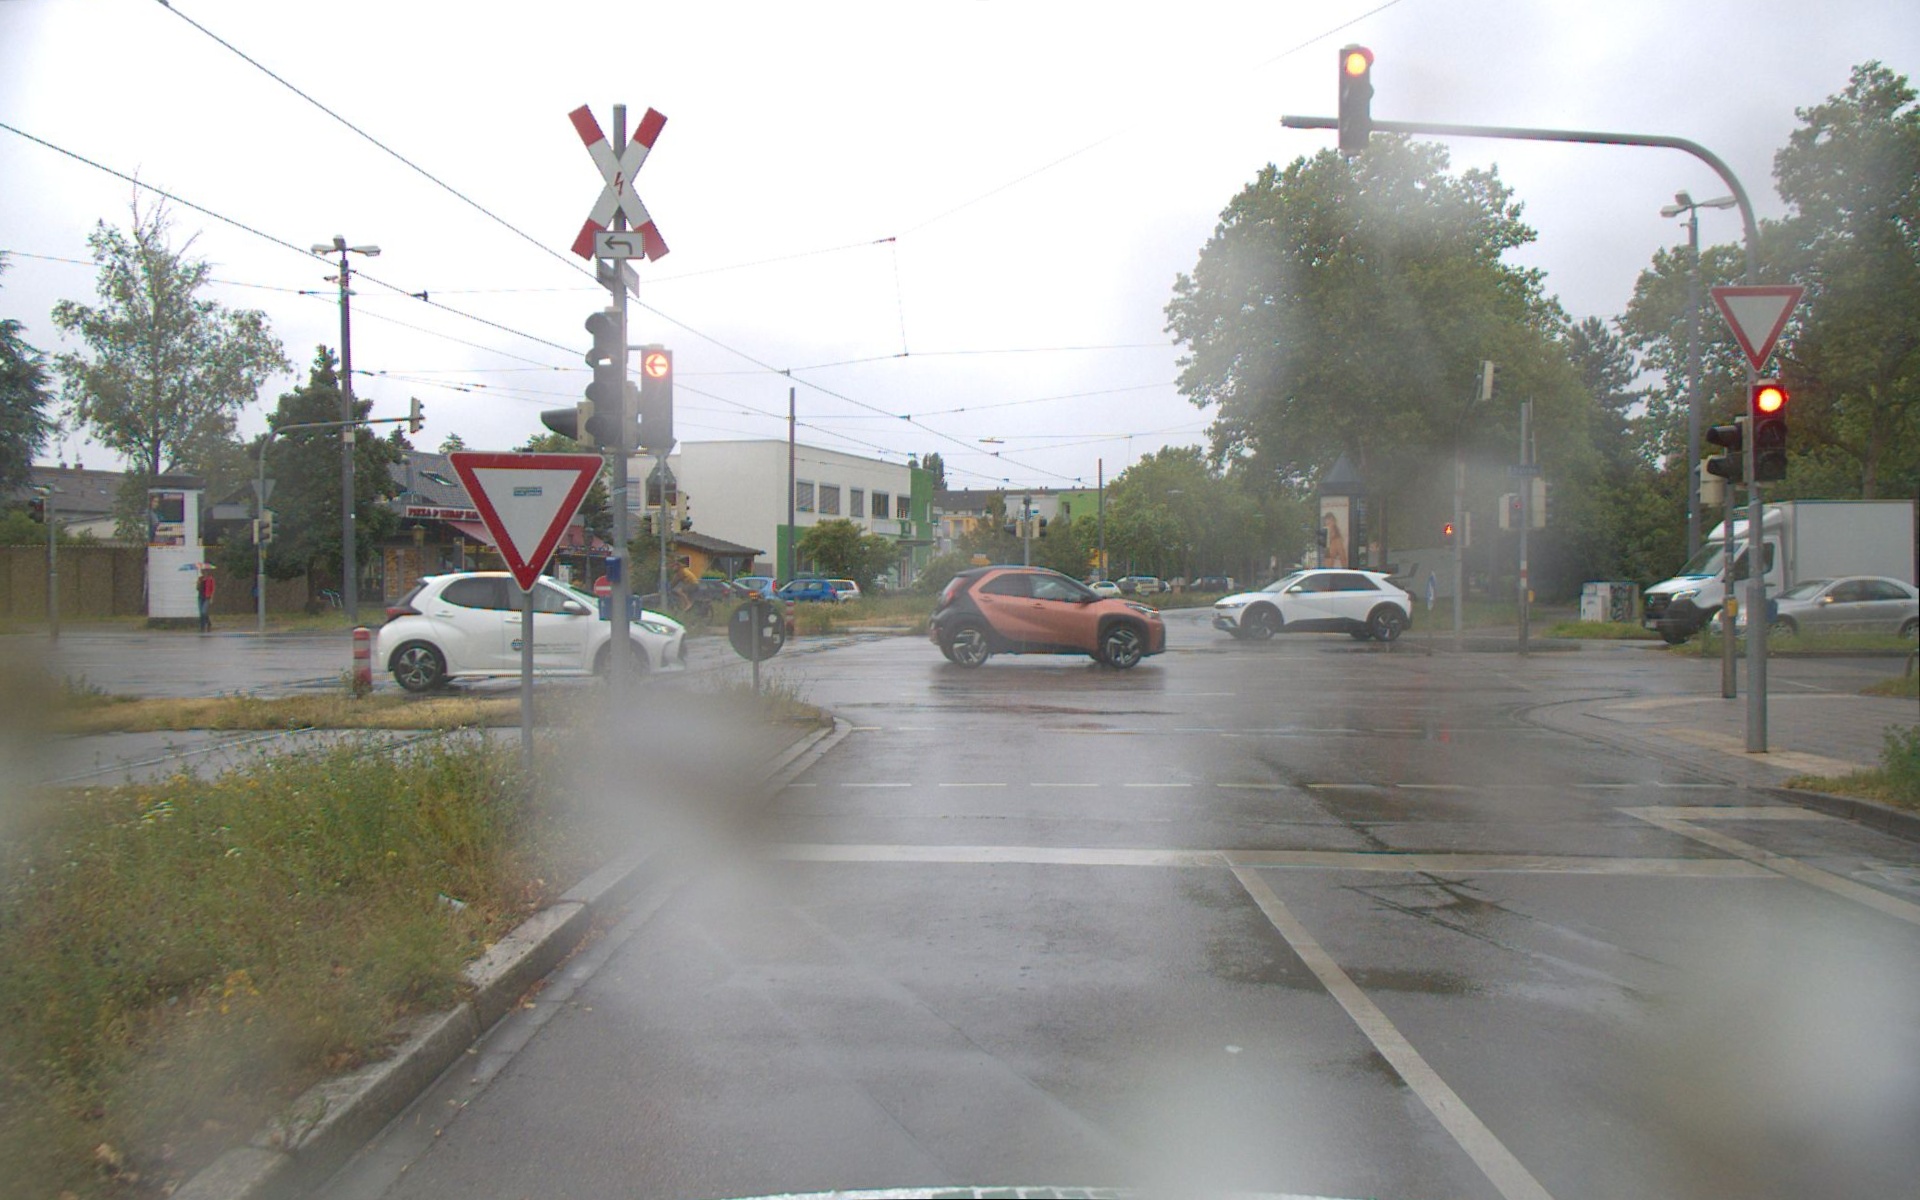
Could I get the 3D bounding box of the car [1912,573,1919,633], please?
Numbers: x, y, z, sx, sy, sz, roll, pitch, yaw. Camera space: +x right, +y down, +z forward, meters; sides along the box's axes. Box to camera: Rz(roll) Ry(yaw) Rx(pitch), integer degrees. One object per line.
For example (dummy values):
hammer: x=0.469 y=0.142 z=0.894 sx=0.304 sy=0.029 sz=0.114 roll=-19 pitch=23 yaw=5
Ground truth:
car: x=25.209 y=0.061 z=39.374 sx=4.116 sy=1.447 sz=1.765 roll=0 pitch=0 yaw=-2

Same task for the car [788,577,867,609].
car: x=-6.258 y=-0.329 z=77.986 sx=3.679 sy=1.467 sz=1.760 roll=-1 pitch=1 yaw=-7

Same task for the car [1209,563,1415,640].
car: x=8.103 y=0.015 z=38.252 sx=4.375 sy=1.685 sz=1.650 roll=-1 pitch=0 yaw=-7

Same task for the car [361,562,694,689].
car: x=-5.537 y=0.300 z=21.579 sx=3.988 sy=1.525 sz=1.649 roll=-1 pitch=0 yaw=-8

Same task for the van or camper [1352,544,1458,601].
van or camper: x=22.773 y=-1.409 z=84.612 sx=5.111 sy=2.744 sz=2.244 roll=2 pitch=1 yaw=18

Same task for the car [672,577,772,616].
car: x=-9.511 y=-0.144 z=66.251 sx=3.672 sy=1.467 sz=1.763 roll=-1 pitch=0 yaw=2

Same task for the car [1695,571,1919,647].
car: x=16.788 y=0.161 z=32.042 sx=4.422 sy=1.414 sz=1.643 roll=0 pitch=0 yaw=-3

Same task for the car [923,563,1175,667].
car: x=1.354 y=0.213 z=26.055 sx=3.744 sy=1.525 sz=1.650 roll=-1 pitch=0 yaw=-6

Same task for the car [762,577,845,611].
car: x=-7.075 y=-0.287 z=74.691 sx=3.679 sy=1.467 sz=1.760 roll=-1 pitch=1 yaw=-7

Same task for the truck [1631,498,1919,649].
truck: x=17.354 y=-0.564 z=35.249 sx=5.359 sy=3.112 sz=1.980 roll=0 pitch=0 yaw=-3

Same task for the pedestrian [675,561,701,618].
pedestrian: x=-7.315 y=-0.281 z=44.455 sx=0.563 sy=1.500 sz=0.500 roll=-1 pitch=0 yaw=3

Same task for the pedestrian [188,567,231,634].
pedestrian: x=-20.244 y=0.003 z=44.610 sx=0.894 sy=1.794 sz=0.797 roll=0 pitch=0 yaw=45

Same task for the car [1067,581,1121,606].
car: x=10.666 y=-0.547 z=131.521 sx=4.054 sy=1.892 sz=1.672 roll=-1 pitch=0 yaw=-5

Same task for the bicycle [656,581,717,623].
bicycle: x=-7.344 y=0.050 z=44.450 sx=1.529 sy=1.121 sz=0.500 roll=-1 pitch=0 yaw=3

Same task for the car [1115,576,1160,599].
car: x=16.024 y=-1.147 z=149.433 sx=4.047 sy=2.010 sz=1.675 roll=-1 pitch=0 yaw=6

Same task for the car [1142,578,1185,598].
car: x=19.498 y=-1.128 z=158.717 sx=4.047 sy=1.892 sz=1.675 roll=-1 pitch=0 yaw=6

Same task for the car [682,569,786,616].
car: x=-9.492 y=-0.329 z=69.707 sx=4.047 sy=1.892 sz=1.675 roll=-1 pitch=0 yaw=6

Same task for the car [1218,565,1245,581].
car: x=35.634 y=-3.559 z=217.138 sx=3.370 sy=2.049 sz=1.809 roll=-1 pitch=0 yaw=16
